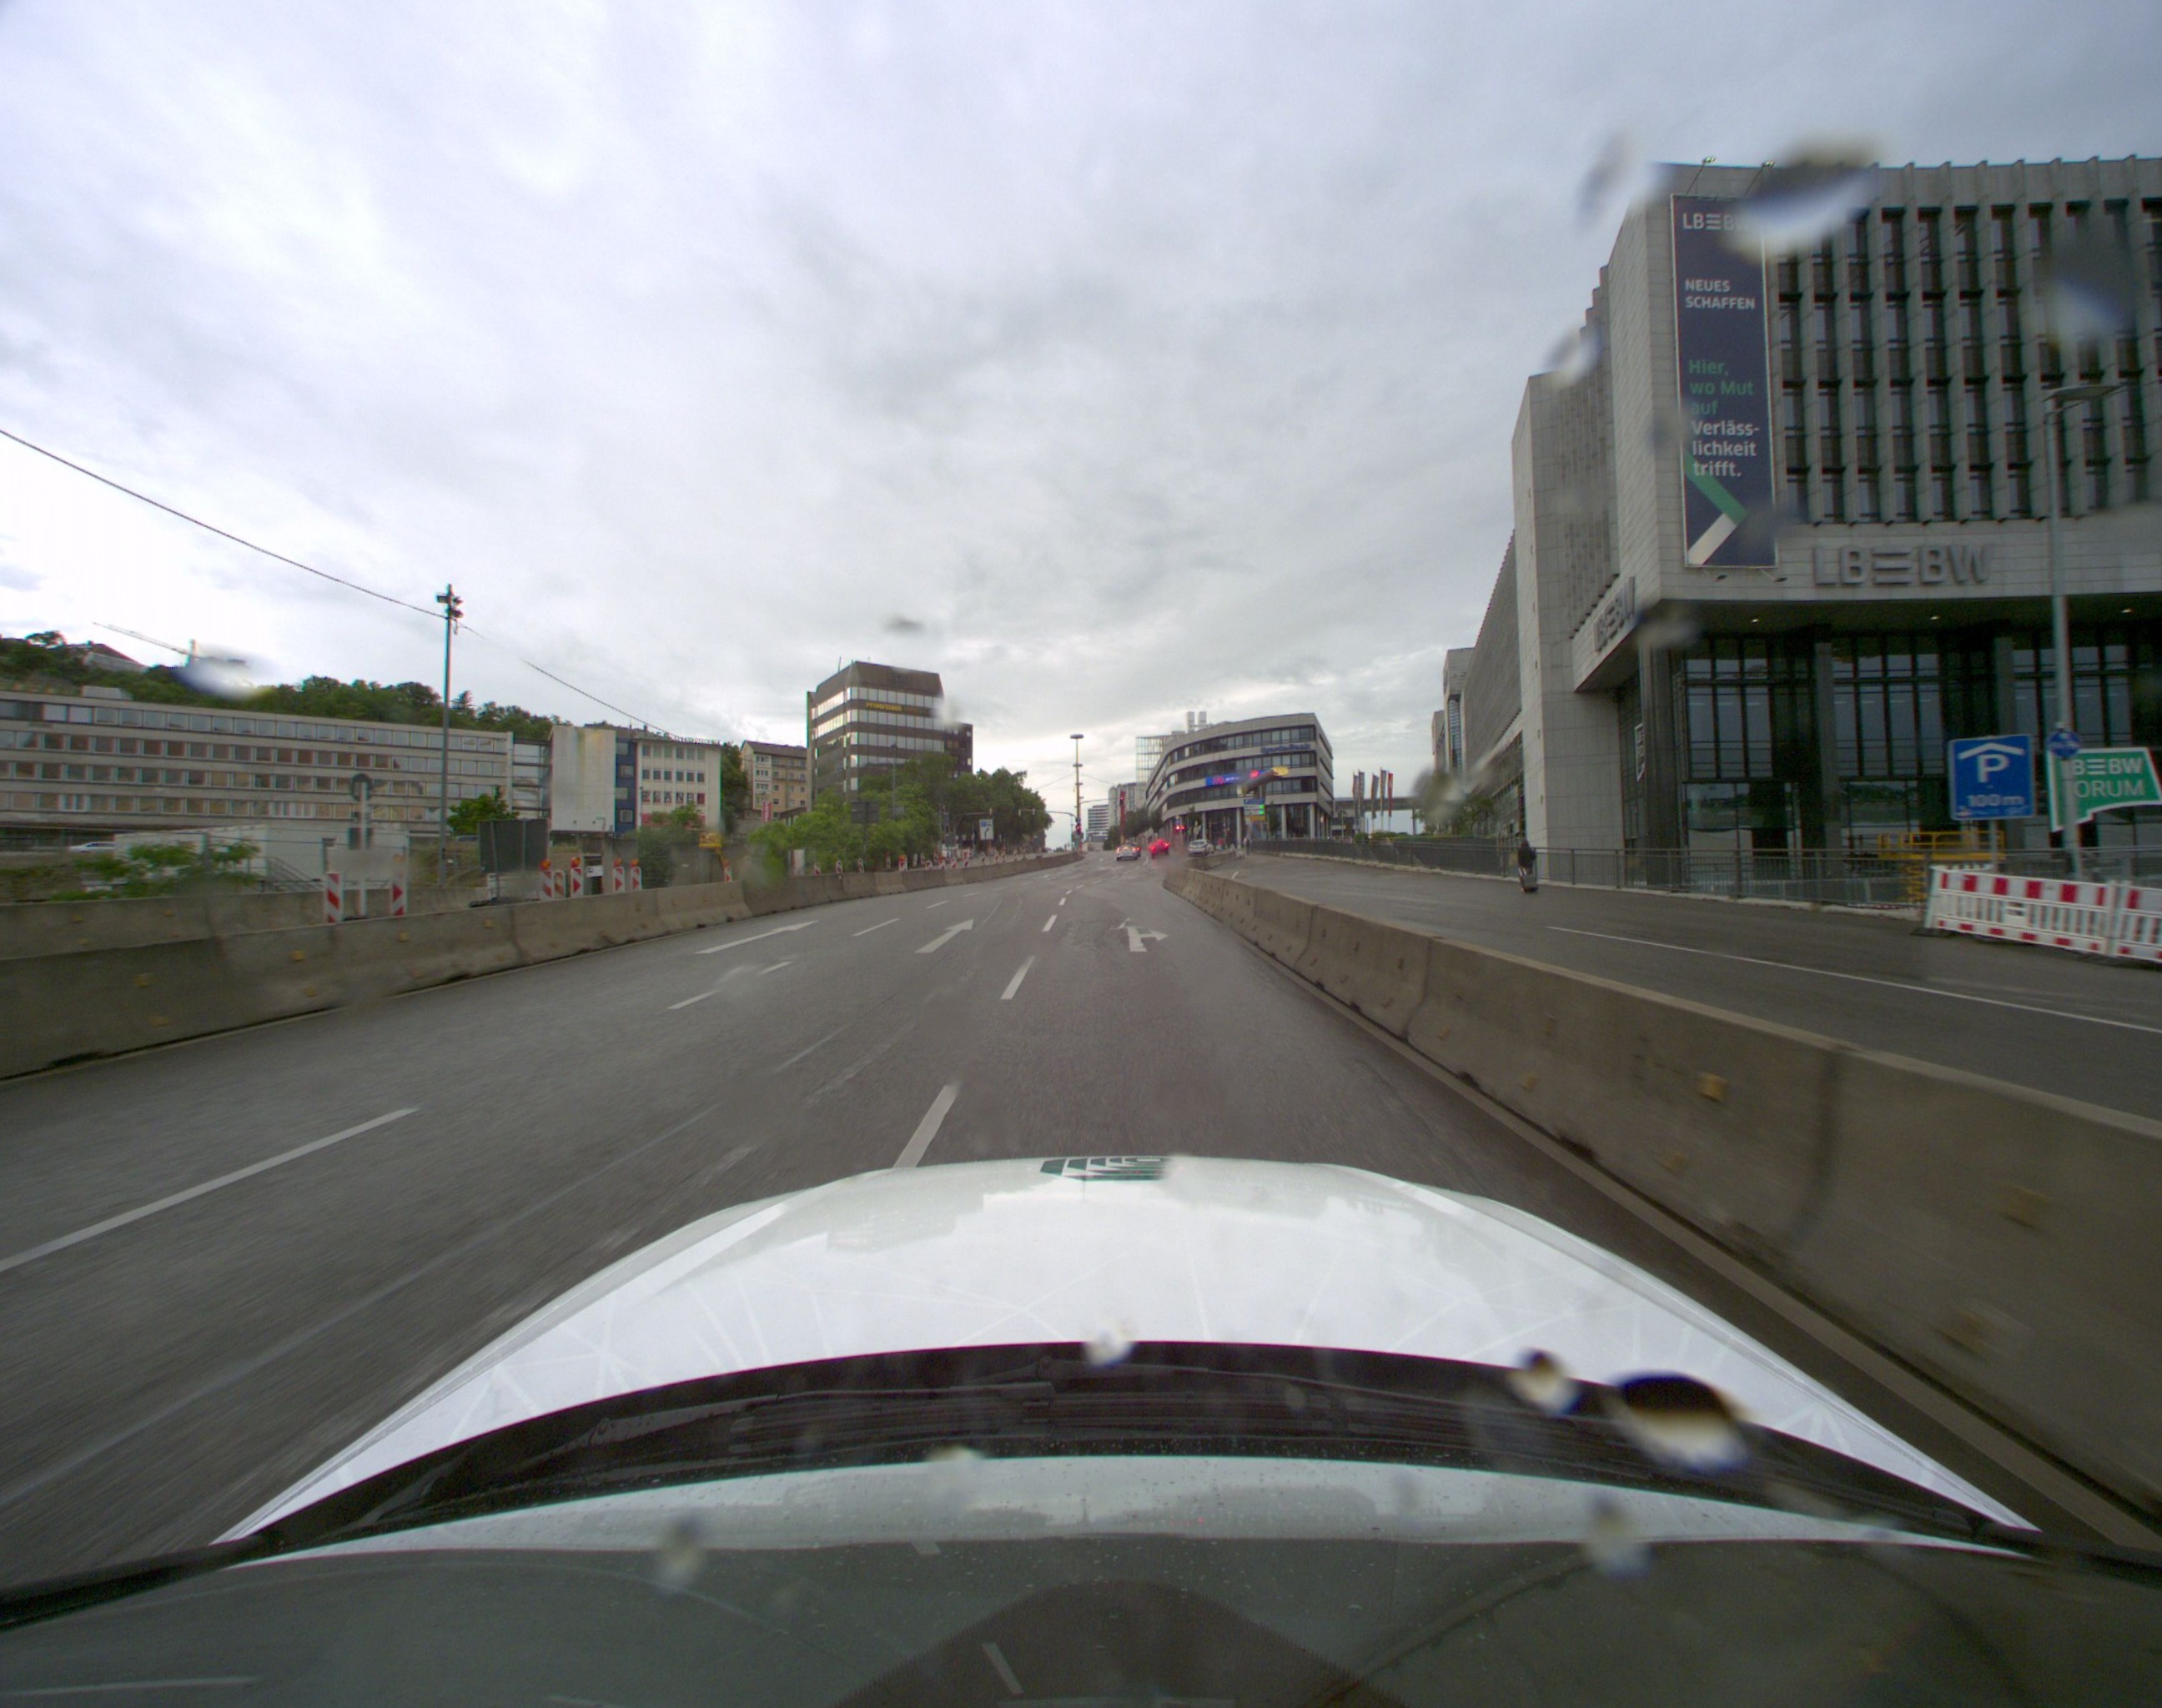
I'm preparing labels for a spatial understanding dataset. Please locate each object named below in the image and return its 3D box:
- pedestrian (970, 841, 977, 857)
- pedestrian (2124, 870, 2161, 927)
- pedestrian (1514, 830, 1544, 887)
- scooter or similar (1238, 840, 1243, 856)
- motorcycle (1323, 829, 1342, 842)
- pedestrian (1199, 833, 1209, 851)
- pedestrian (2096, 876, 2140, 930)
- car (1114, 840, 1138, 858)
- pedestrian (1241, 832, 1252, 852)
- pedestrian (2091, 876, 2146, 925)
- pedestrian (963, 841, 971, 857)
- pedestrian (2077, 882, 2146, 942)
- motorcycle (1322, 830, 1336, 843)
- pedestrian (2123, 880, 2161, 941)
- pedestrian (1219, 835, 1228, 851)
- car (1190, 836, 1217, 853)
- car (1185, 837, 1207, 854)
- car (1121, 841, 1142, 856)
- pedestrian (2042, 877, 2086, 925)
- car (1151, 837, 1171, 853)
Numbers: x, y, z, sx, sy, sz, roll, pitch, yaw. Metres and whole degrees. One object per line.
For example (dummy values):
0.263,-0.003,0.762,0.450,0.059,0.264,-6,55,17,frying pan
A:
-13.461,-0.635,101.642,0.669,1.901,0.776,-1,-1,3,pedestrian
34.869,1.456,26.666,0.643,1.816,0.749,-1,-2,-30,pedestrian
13.400,0.140,24.379,0.722,1.652,1.067,-2,0,29,pedestrian
12.027,-0.443,61.437,0.346,1.162,0.575,-2,0,16,scooter or similar
26.746,-1.947,86.643,1.722,1.354,0.605,-3,1,-7,motorcycle
14.772,-1.435,97.677,0.856,2.098,0.898,0,1,-22,pedestrian
32.823,1.534,25.776,0.655,1.637,0.734,-1,-2,-30,pedestrian
4.099,-0.485,73.222,1.954,1.548,4.226,-2,1,6,car
14.392,-1.070,70.745,0.727,1.711,0.843,-1,-1,0,pedestrian
36.154,1.620,28.396,0.857,1.637,1.014,-2,-2,35,pedestrian
-14.212,-0.631,101.772,0.758,1.922,0.743,-1,-1,3,pedestrian
29.197,1.630,23.098,0.858,1.637,1.014,-2,-2,30,pedestrian
26.605,-1.896,87.366,1.239,1.270,0.619,-3,1,-7,motorcycle
30.029,1.562,22.691,0.858,1.637,1.014,-2,-2,30,pedestrian
17.284,-1.313,98.515,0.832,1.905,0.866,-2,-2,27,pedestrian
12.588,-0.992,83.496,1.756,1.634,4.605,-1,1,21,car
10.799,-0.778,76.900,1.693,1.451,4.620,-1,0,3,car
5.058,-0.535,81.861,1.735,1.443,3.998,-2,1,-2,car
35.011,1.660,29.022,1.014,1.637,0.858,0,-2,-45,pedestrian
7.430,-0.806,75.843,1.747,1.407,4.232,0,0,4,car
